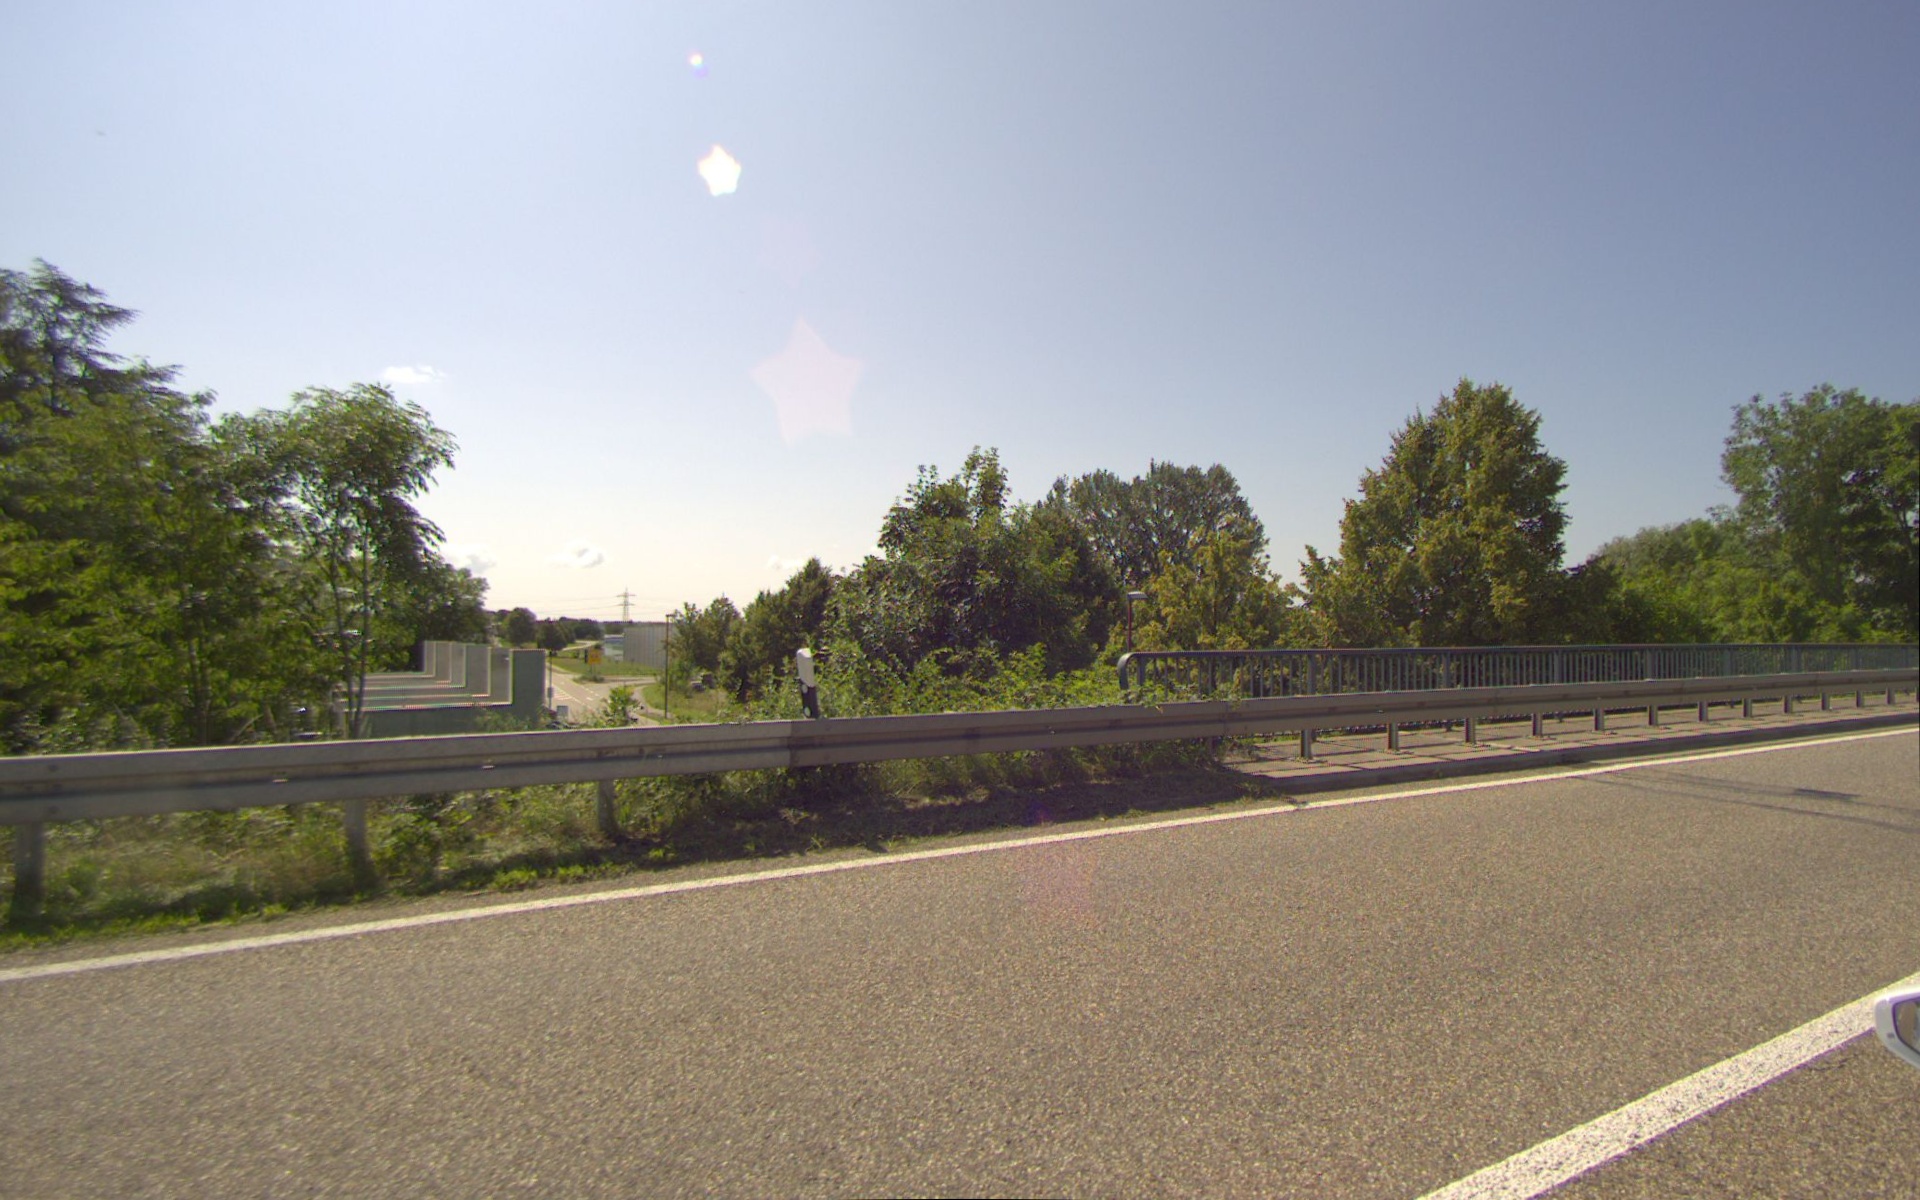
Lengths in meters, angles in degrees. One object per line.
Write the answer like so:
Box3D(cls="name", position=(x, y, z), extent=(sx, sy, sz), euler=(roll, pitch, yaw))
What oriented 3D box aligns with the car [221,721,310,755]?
Box3D(cls="car", position=(-39.583, 7.855, 57.384), extent=(3.923, 1.705, 1.694), euler=(2, -4, -27))
